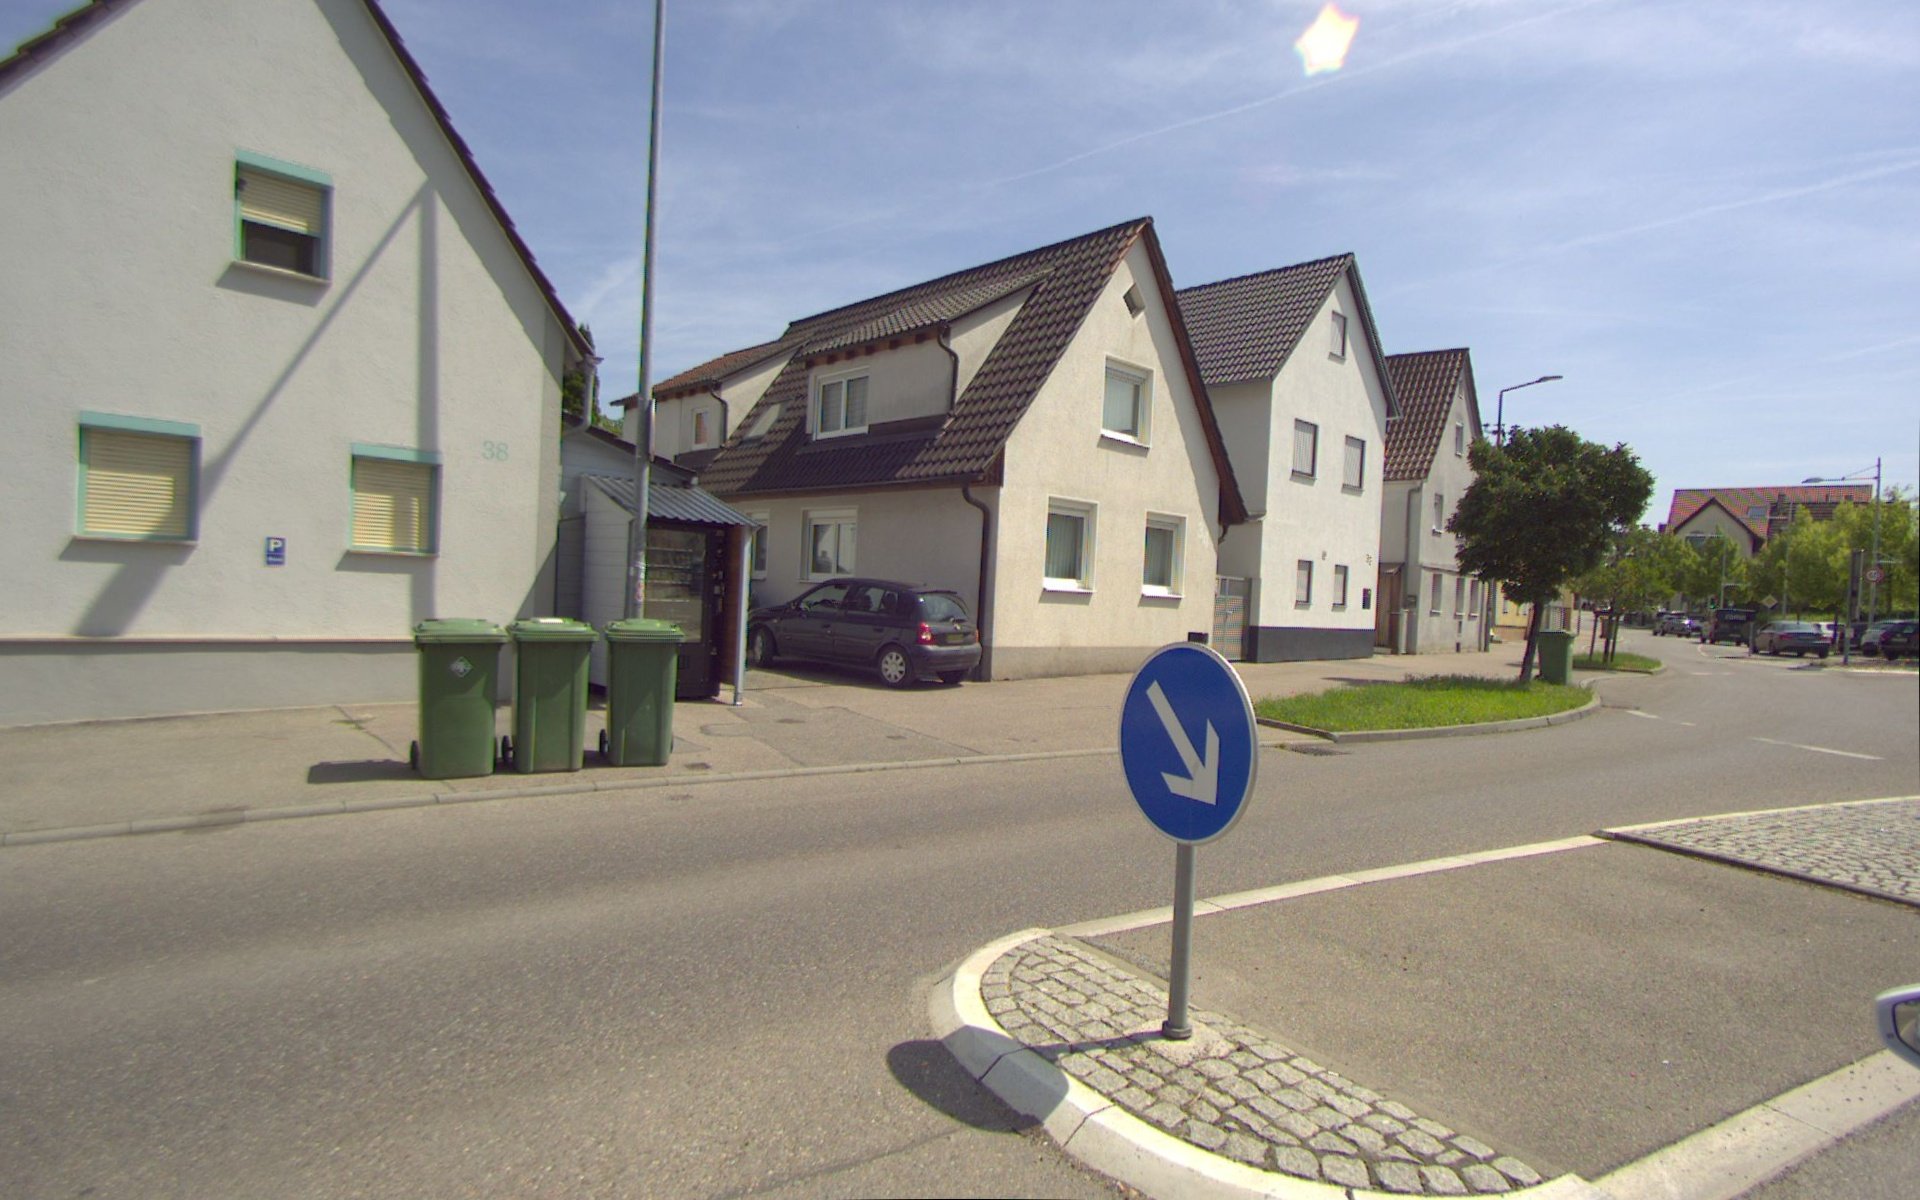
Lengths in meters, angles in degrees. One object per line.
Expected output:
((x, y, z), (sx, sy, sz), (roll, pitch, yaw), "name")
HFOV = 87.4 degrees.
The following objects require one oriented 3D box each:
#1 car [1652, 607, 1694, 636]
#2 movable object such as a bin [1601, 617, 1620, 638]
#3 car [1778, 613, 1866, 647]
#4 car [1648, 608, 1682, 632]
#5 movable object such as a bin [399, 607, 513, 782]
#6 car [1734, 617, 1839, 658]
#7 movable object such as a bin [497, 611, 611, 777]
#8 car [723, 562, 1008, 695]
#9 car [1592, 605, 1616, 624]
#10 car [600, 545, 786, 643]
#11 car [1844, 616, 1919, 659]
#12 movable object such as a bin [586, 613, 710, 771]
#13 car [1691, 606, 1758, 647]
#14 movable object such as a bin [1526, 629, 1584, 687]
((52.493, 1.565, 73.994), (2.080, 2.040, 3.992), (3, 1, 31), "car")
((33.465, 1.404, 51.678), (0.686, 1.066, 0.674), (2, 1, 26), "movable object such as a bin")
((47.278, 1.636, 55.098), (3.937, 1.691, 1.865), (2, 1, -18), "car")
((62.259, 1.745, 88.764), (2.080, 2.040, 3.992), (3, 1, 31), "car")
((-3.533, 0.631, 7.025), (0.625, 1.107, 0.637), (1, 4, -34), "movable object such as a bin")
((33.489, 1.471, 40.851), (1.840, 1.409, 4.216), (3, 1, 19), "car")
((-2.995, 0.656, 7.386), (0.626, 1.091, 0.725), (1, 4, -34), "movable object such as a bin")
((-1.415, 0.337, 14.635), (3.780, 1.460, 1.774), (6, 3, 32), "car")
((75.368, 1.707, 117.567), (2.080, 2.040, 3.992), (3, 1, 31), "car")
((-5.143, -0.129, 19.074), (1.984, 1.667, 3.826), (1, 1, -40), "car")
((39.265, 1.585, 41.556), (3.925, 1.639, 1.816), (2, 1, -6), "car")
((-2.406, 0.674, 7.723), (0.718, 1.091, 0.676), (1, 4, -34), "movable object such as a bin")
((41.744, 1.403, 54.941), (2.078, 2.040, 3.995), (3, 1, 26), "car")
((11.564, 1.107, 19.524), (0.888, 1.062, 0.577), (2, 1, 36), "movable object such as a bin")
